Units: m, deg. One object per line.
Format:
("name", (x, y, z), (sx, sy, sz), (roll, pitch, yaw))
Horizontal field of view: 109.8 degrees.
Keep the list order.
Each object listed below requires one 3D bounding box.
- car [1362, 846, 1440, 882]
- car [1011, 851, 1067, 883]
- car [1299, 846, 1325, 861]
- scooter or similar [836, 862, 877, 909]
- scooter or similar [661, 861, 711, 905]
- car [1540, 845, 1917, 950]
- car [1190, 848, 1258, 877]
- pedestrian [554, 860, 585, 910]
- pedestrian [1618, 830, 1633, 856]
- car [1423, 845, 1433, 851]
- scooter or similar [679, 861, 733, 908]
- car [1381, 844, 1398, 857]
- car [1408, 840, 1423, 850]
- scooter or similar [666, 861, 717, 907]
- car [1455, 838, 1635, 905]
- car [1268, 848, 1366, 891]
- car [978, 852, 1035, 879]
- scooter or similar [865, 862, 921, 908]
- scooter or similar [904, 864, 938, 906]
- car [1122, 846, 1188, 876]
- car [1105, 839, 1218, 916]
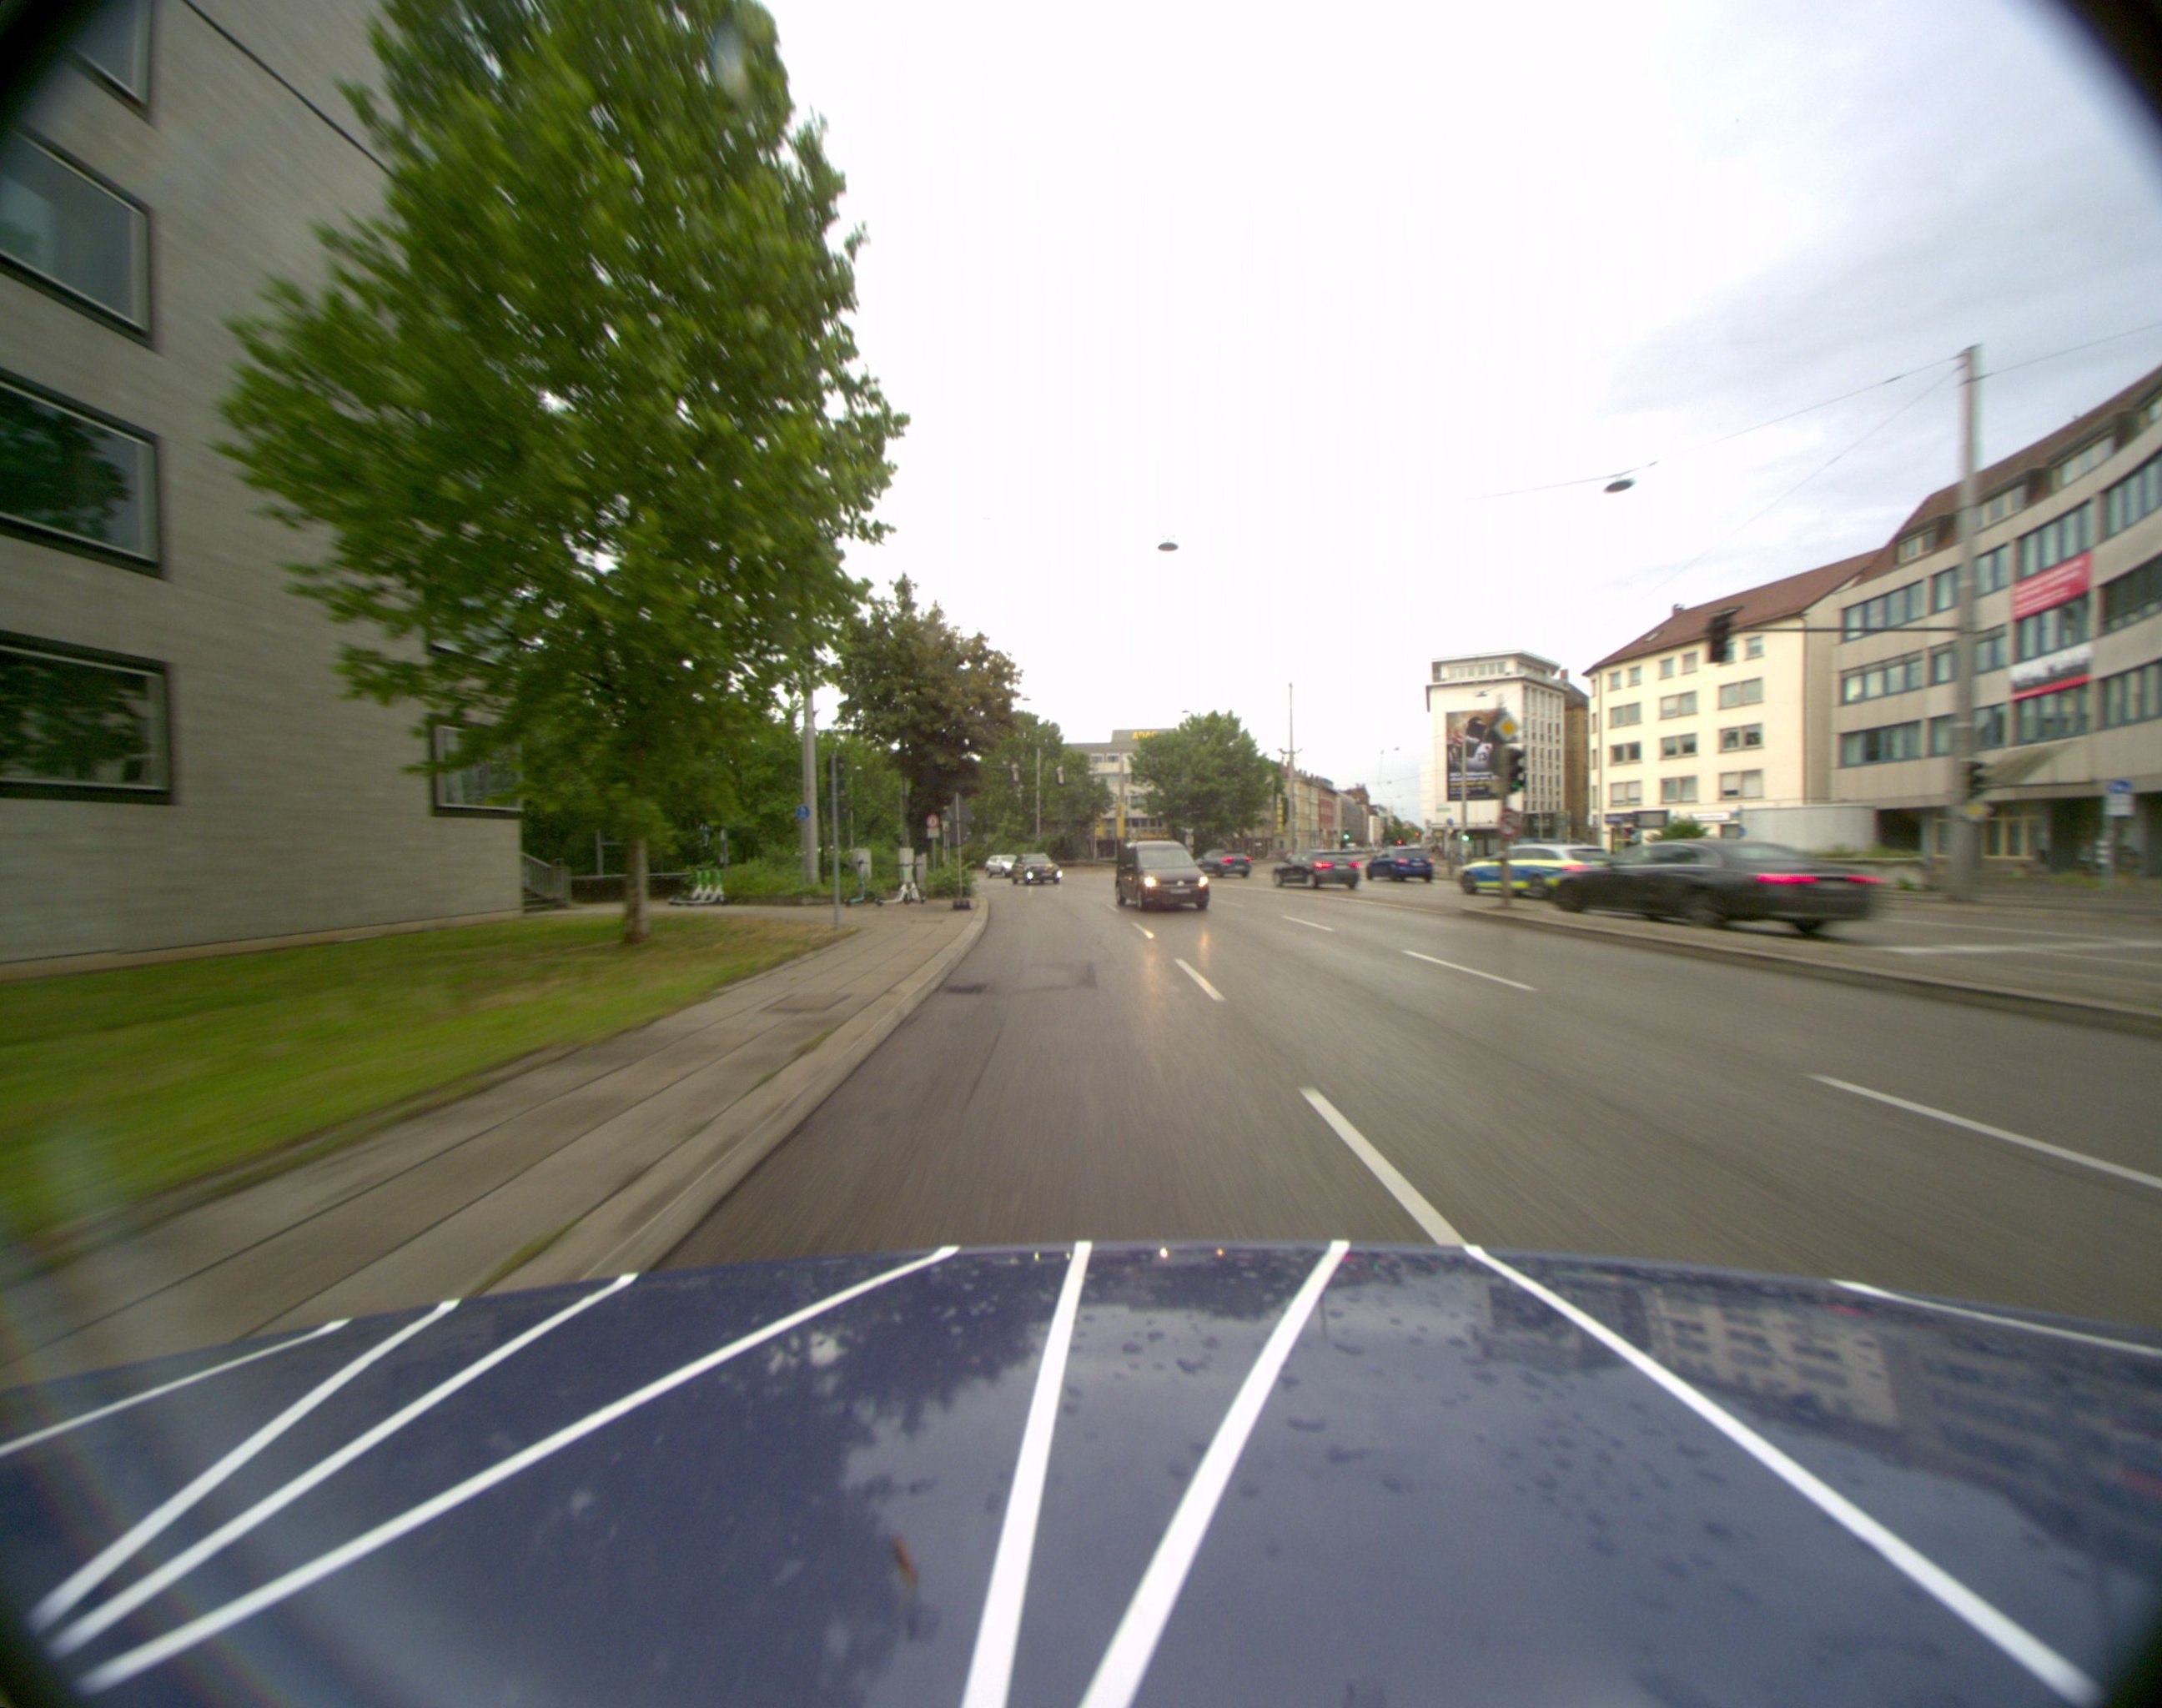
("car", (14.437, 0.409, 34.525), (1.767, 1.503, 4.120), (0, 1, -1))
("car", (-2.290, 0.662, 40.206), (1.933, 1.532, 3.993), (-1, 1, -18))
("car", (23.273, -0.053, 76.544), (1.995, 1.442, 4.235), (0, 1, 25))
("scooter or similar", (-6.034, 0.818, 20.493), (0.563, 1.194, 1.326), (0, 1, 8))
("scooter or similar", (-11.851, 0.873, 22.830), (1.240, 1.305, 0.472), (0, 1, -2))
("car", (10.357, 0.589, 12.853), (1.999, 1.430, 4.935), (0, 0, -3))
("car", (7.834, 0.405, 42.049), (1.825, 1.503, 4.225), (0, 1, -19))
("pedestrian", (-14.273, 0.868, 21.205), (0.480, 1.365, 0.538), (0, 1, 0))
("pedestrian", (41.813, -0.867, 58.344), (0.567, 2.002, 0.676), (0, 1, -14))
("car", (81.296, -1.440, 177.975), (1.776, 1.313, 3.684), (0, 1, 28))
("scooter or similar", (-10.740, 0.872, 21.783), (1.240, 1.305, 0.554), (0, 1, -2))
("car", (42.921, -0.537, 105.707), (1.995, 1.832, 4.446), (0, 1, 19))
("car", (54.270, -1.399, 123.288), (1.871, 1.568, 4.007), (0, 1, 27))
("scooter or similar", (-11.426, 0.878, 22.306), (1.240, 1.305, 0.472), (0, 1, -2))
("car", (12.695, 0.408, 21.210), (1.772, 1.672, 4.587), (0, 1, -8))
("car", (8.496, 0.502, 27.744), (1.772, 1.408, 4.078), (0, 1, -10))
("car", (-5.372, 0.781, 54.251), (2.004, 1.735, 4.642), (-1, 1, -35))
("scooter or similar", (-5.182, 0.826, 20.994), (0.687, 1.194, 1.341), (1, 1, 39))
("scooter or similar", (-4.692, 0.883, 22.166), (0.638, 1.122, 1.590), (-1, 1, -24))
("car", (4.094, 0.344, 42.977), (1.861, 1.613, 4.583), (0, 1, -21))
("car", (2.028, 0.553, 20.348), (1.797, 1.789, 4.121), (-2, 0, -12))
